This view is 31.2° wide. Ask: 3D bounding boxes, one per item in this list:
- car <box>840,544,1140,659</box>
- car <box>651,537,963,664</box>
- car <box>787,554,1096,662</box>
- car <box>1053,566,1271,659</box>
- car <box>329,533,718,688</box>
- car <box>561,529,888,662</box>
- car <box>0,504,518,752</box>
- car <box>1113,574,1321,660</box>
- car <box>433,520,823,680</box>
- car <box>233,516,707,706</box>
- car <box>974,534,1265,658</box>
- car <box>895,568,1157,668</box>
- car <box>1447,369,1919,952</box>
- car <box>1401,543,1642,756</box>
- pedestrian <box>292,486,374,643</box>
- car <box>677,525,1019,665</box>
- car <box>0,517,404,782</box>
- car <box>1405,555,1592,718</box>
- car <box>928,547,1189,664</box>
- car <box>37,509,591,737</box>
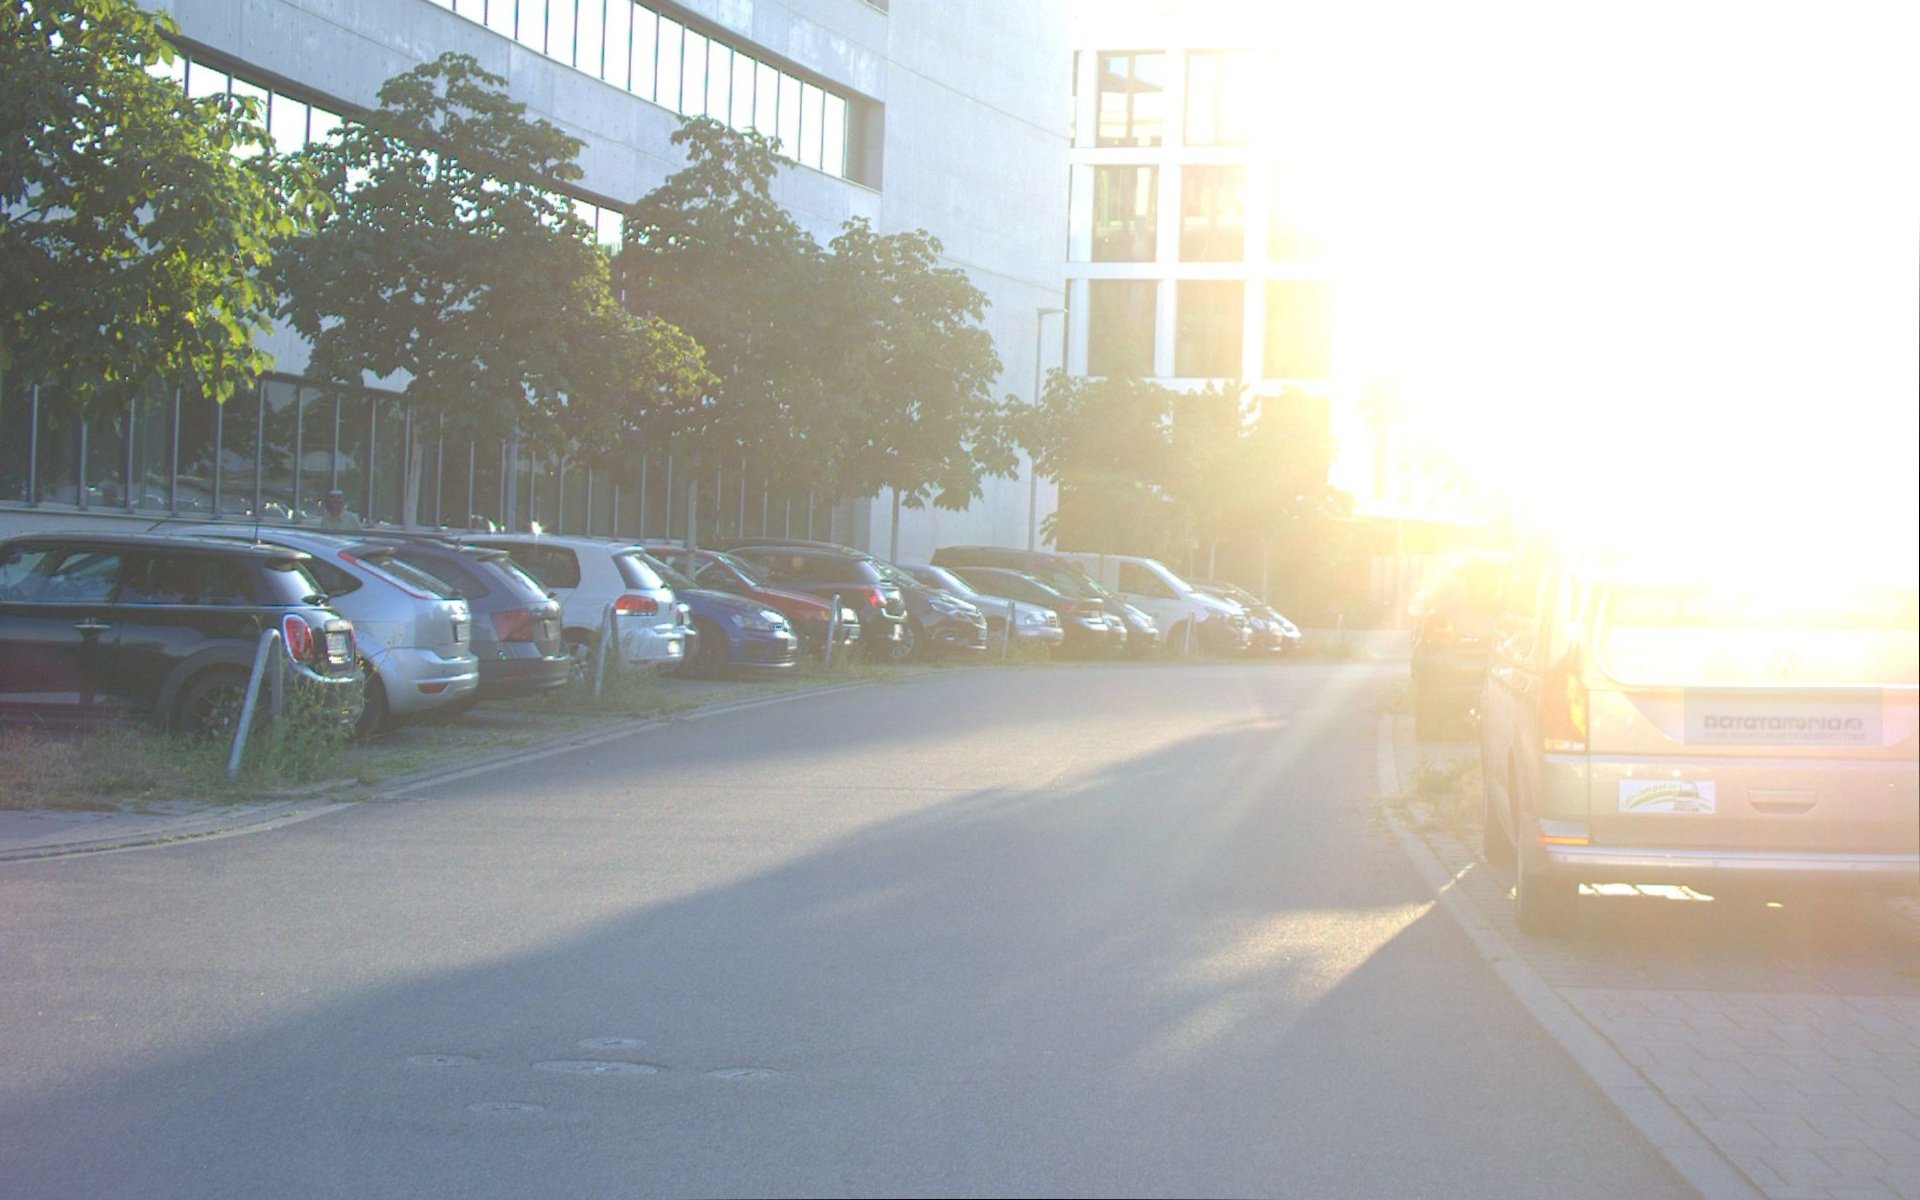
[{"bbox_3d":[0.487,0.025,55.419,4.402,1.494,1.761,4,0,19],"label":"car"},{"bbox_3d":[-1.973,-0.003,44.824,3.704,1.453,1.678,3,0,12],"label":"car"},{"bbox_3d":[-0.275,0.097,53.223,4.437,1.459,1.762,2,1,15],"label":"car"},{"bbox_3d":[4.027,0.247,68.375,3.990,1.517,1.604,4,0,16],"label":"car"},{"bbox_3d":[-4.442,0.085,35.291,3.633,1.357,1.686,3,1,5],"label":"car"},{"bbox_3d":[-2.909,-0.059,42.788,3.704,1.453,1.711,3,0,10],"label":"car"},{"bbox_3d":[-5.457,0.164,25.053,4.086,1.523,1.846,3,1,3],"label":"car"},{"bbox_3d":[5.266,0.336,70.432,3.890,1.483,1.650,4,1,18],"label":"car"},{"bbox_3d":[-3.626,-0.019,37.841,3.871,1.506,1.759,3,1,10],"label":"car"},{"bbox_3d":[-4.535,0.075,32.102,3.988,1.506,1.759,3,1,8],"label":"car"},{"bbox_3d":[3.033,-0.081,65.095,5.080,1.940,1.887,4,0,17],"label":"car"},{"bbox_3d":[1.152,0.309,59.446,4.147,1.399,1.723,4,0,16],"label":"car"},{"bbox_3d":[3.280,0.179,14.945,2.066,2.087,4.871,1,1,6],"label":"car"},{"bbox_3d":[4.496,0.338,27.508,1.741,1.546,3.638,2,1,10],"label":"car"},{"bbox_3d":[-7.324,-0.415,40.200,0.646,1.778,0.725,3,1,9],"label":"pedestrian"},{"bbox_3d":[-1.523,-0.074,47.428,4.311,1.690,1.895,3,0,12],"label":"car"},{"bbox_3d":[-5.678,0.256,22.281,3.735,1.477,1.769,3,2,4],"label":"car"},{"bbox_3d":[5.725,0.329,36.201,1.711,1.544,4.546,2,1,11],"label":"car"},{"bbox_3d":[1.765,0.093,61.220,4.250,1.736,1.723,4,0,16],"label":"car"},{"bbox_3d":[-5.076,0.154,27.296,3.998,1.507,1.585,3,2,3],"label":"car"}]
